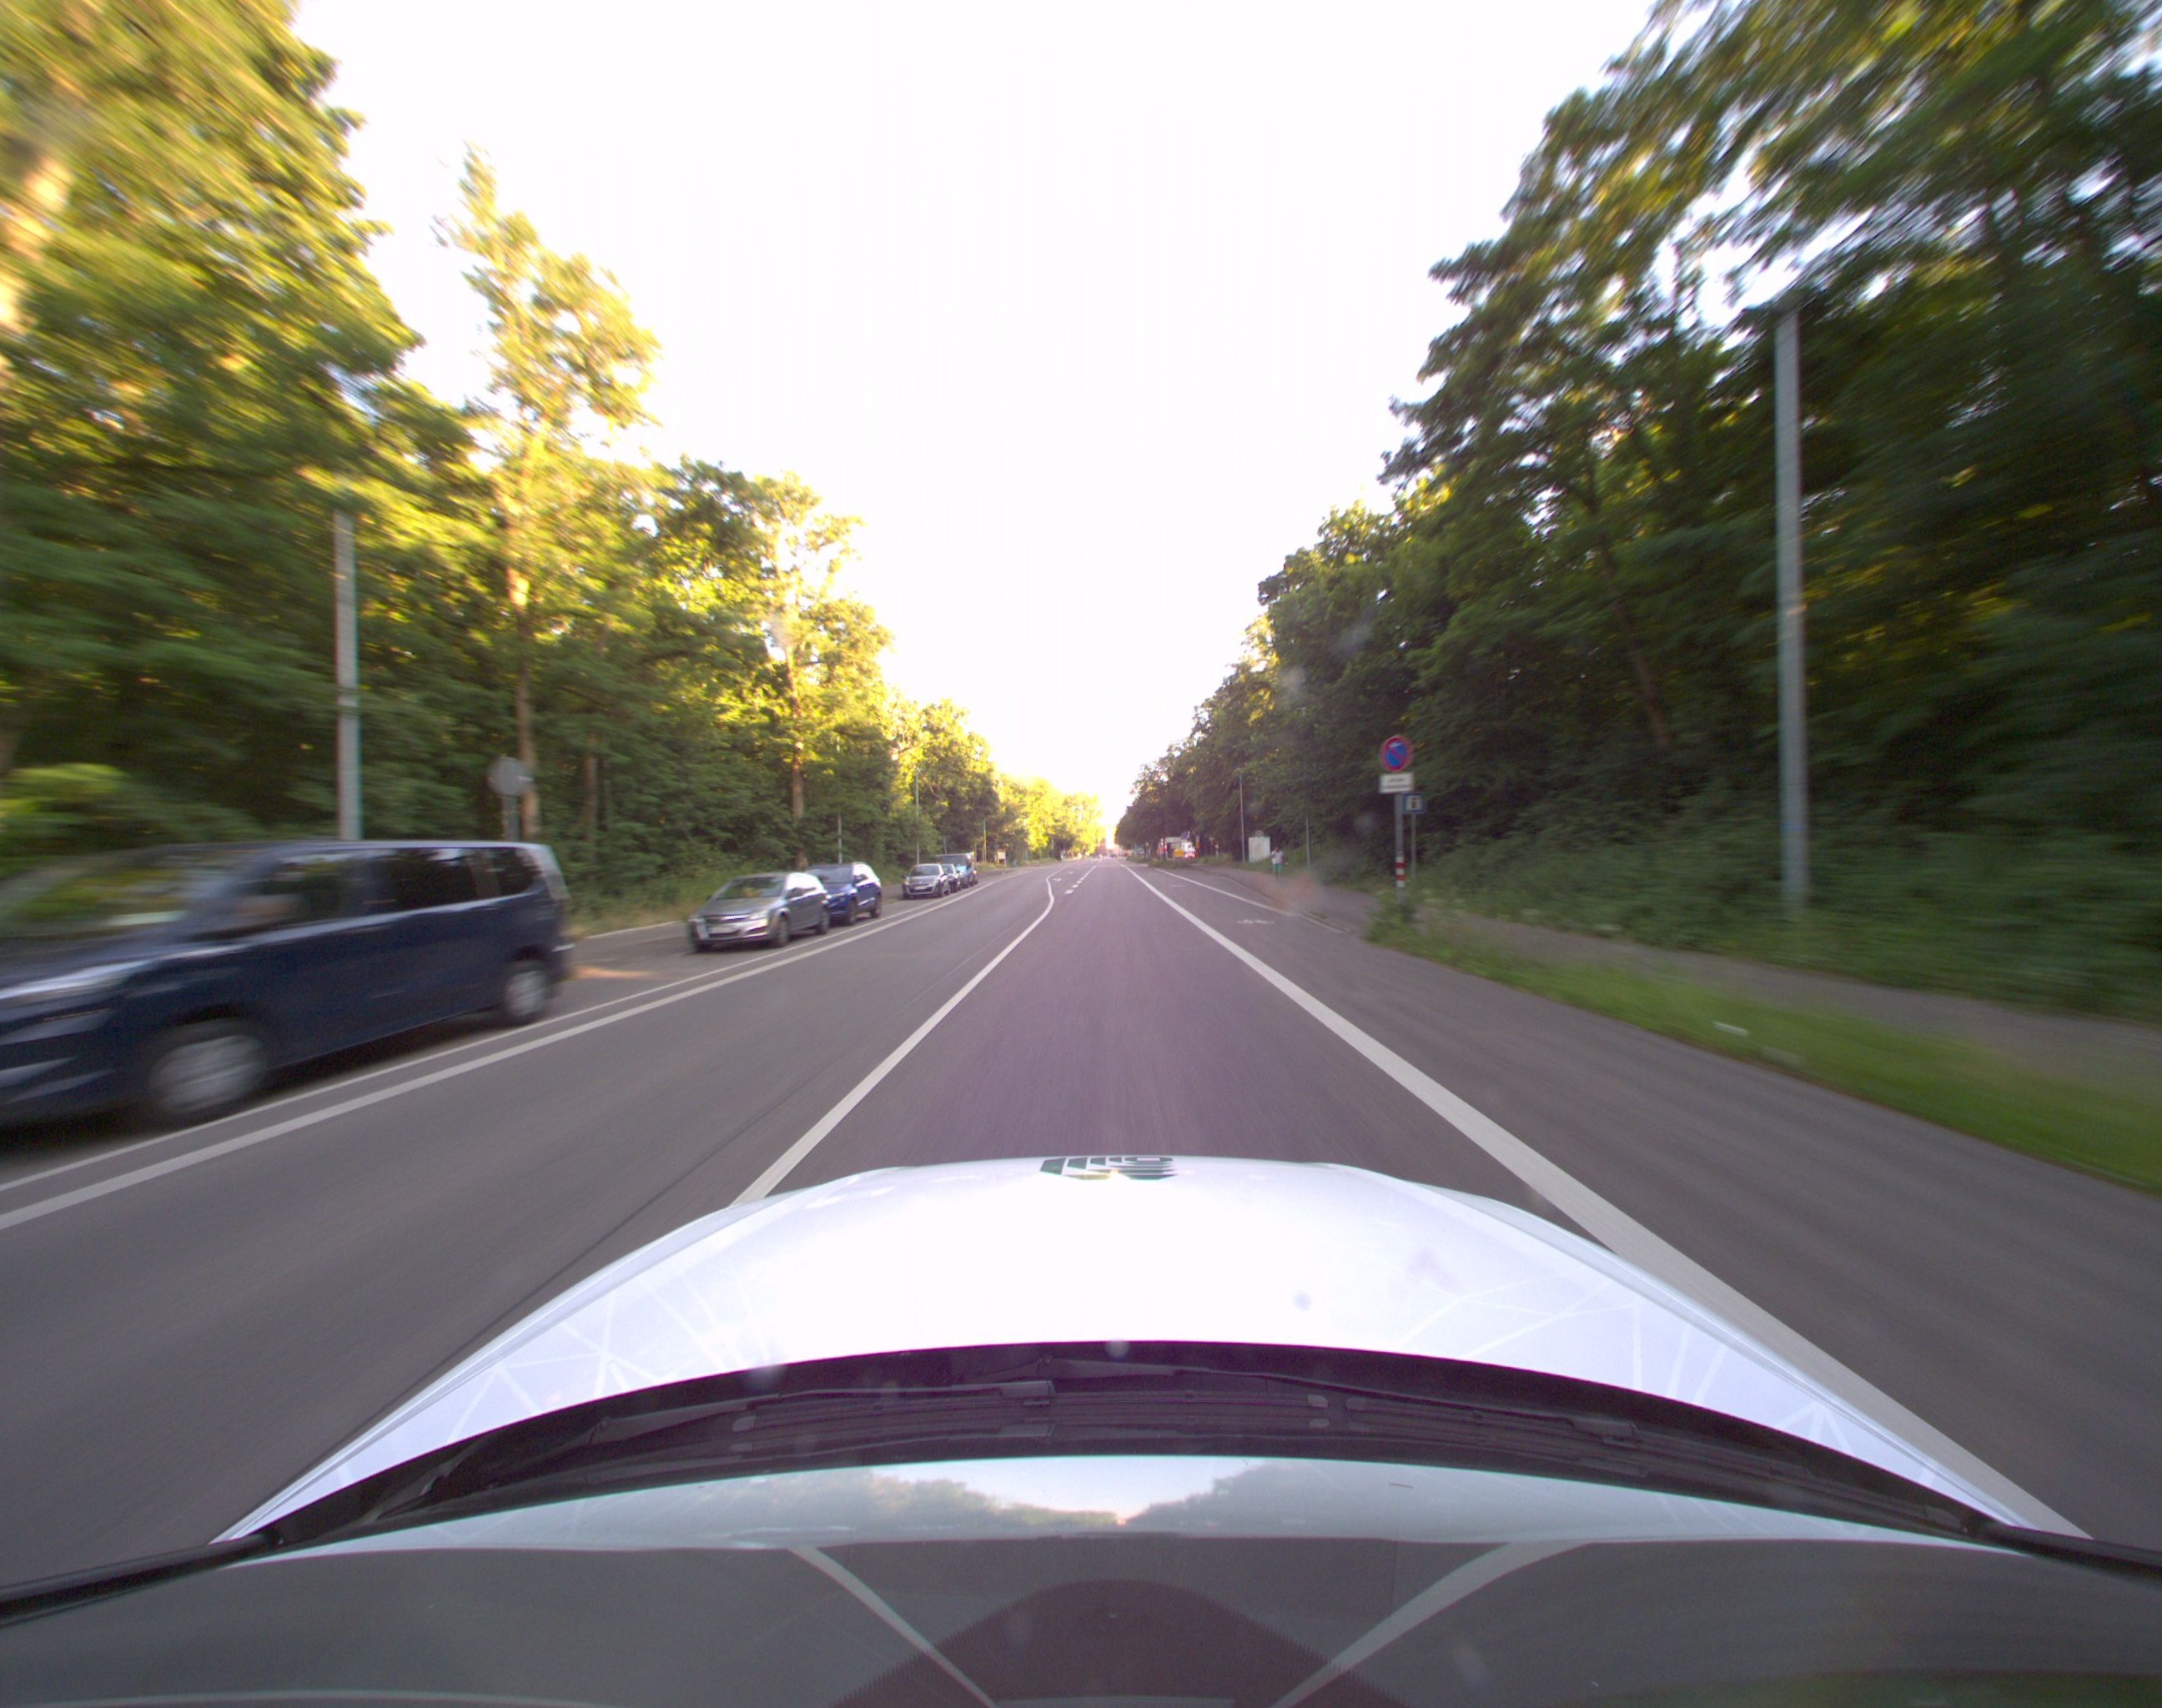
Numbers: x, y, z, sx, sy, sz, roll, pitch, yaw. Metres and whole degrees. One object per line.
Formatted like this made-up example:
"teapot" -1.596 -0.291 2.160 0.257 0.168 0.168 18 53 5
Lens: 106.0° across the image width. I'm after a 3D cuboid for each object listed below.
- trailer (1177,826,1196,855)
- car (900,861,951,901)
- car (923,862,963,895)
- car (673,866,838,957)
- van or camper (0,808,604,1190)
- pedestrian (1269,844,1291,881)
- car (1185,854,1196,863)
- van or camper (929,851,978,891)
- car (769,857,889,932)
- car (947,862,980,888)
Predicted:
"trailer" 20.705 -2.602 160.319 3.008 5.462 7.940 -2 0 3
"car" -6.763 1.149 35.775 1.613 1.534 4.035 -3 0 -3
"car" -6.952 1.192 41.284 1.540 1.493 3.966 -3 0 -4
"car" -6.581 1.089 17.014 1.663 1.501 4.245 -3 0 0
"van or camper" -6.762 0.833 6.977 1.996 2.018 5.460 -4 0 0
"pedestrian" 9.469 0.410 38.802 0.835 1.751 0.726 -1 0 2
"car" 19.816 0.744 147.824 1.761 1.583 4.826 0 0 6
"van or camper" -7.275 0.945 46.949 2.026 2.094 5.010 -3 0 -2
"car" -6.642 0.997 22.037 1.739 1.712 4.522 -3 0 0
"car" -7.536 1.317 52.694 1.683 1.462 4.238 -3 0 -4
